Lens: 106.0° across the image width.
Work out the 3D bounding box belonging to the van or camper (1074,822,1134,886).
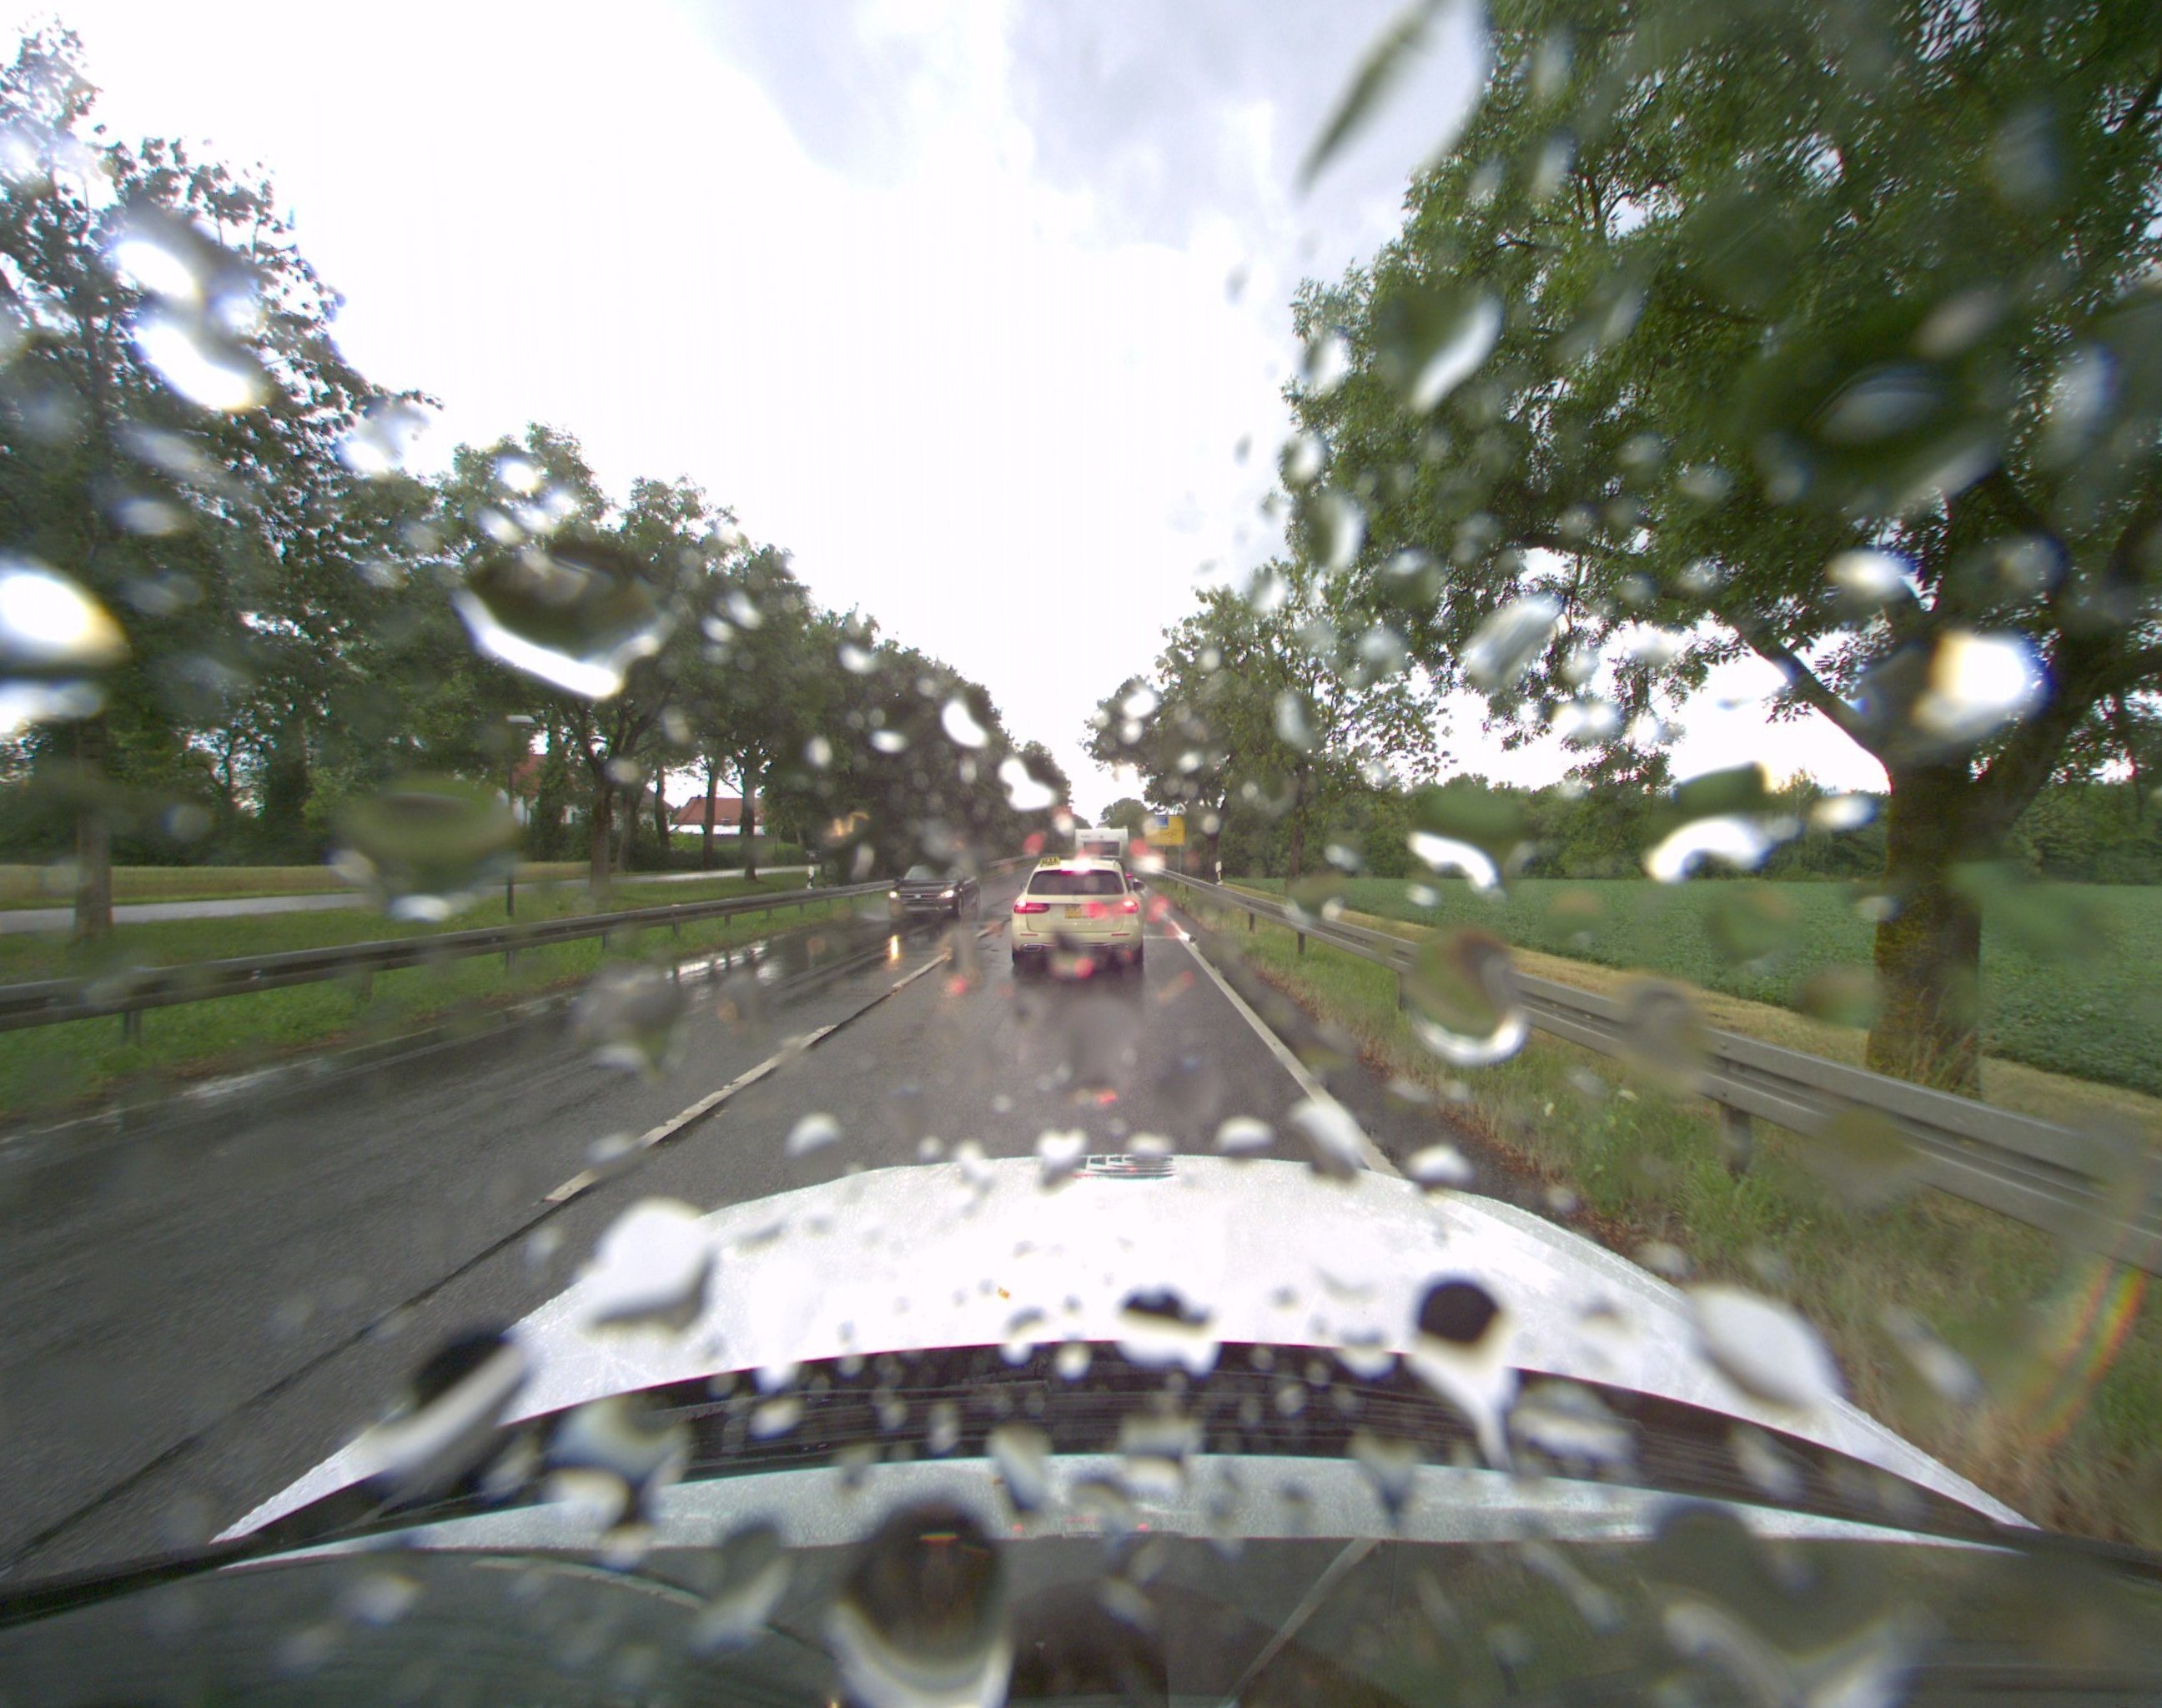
[{"bbox_3d":[1.133,-0.014,37.192,2.479,2.685,5.705,-1,0,3],"label":"van or camper"}]

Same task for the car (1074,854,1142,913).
[{"bbox_3d":[0.781,0.735,22.227,1.657,1.430,4.003,-1,0,3],"label":"car"}]

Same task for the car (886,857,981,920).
[{"bbox_3d":[-3.743,0.827,21.326,1.622,1.438,3.962,-1,0,2],"label":"car"}]

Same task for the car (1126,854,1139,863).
[{"bbox_3d":[6.415,0.596,101.525,1.546,1.118,4.001,-1,-1,2],"label":"car"}]

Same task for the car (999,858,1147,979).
[{"bbox_3d":[0.008,0.832,12.350,1.857,1.476,4.003,-1,0,3],"label":"car"}]

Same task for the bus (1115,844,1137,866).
[{"bbox_3d":[4.241,0.063,77.790,1.986,2.013,4.002,-2,0,2],"label":"bus"}]

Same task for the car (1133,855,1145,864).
[{"bbox_3d":[7.864,0.760,110.716,1.545,1.118,4.003,-1,-1,3],"label":"car"}]

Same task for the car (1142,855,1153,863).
[{"bbox_3d":[9.582,0.697,118.224,1.545,1.118,4.004,-1,-1,4],"label":"car"}]
